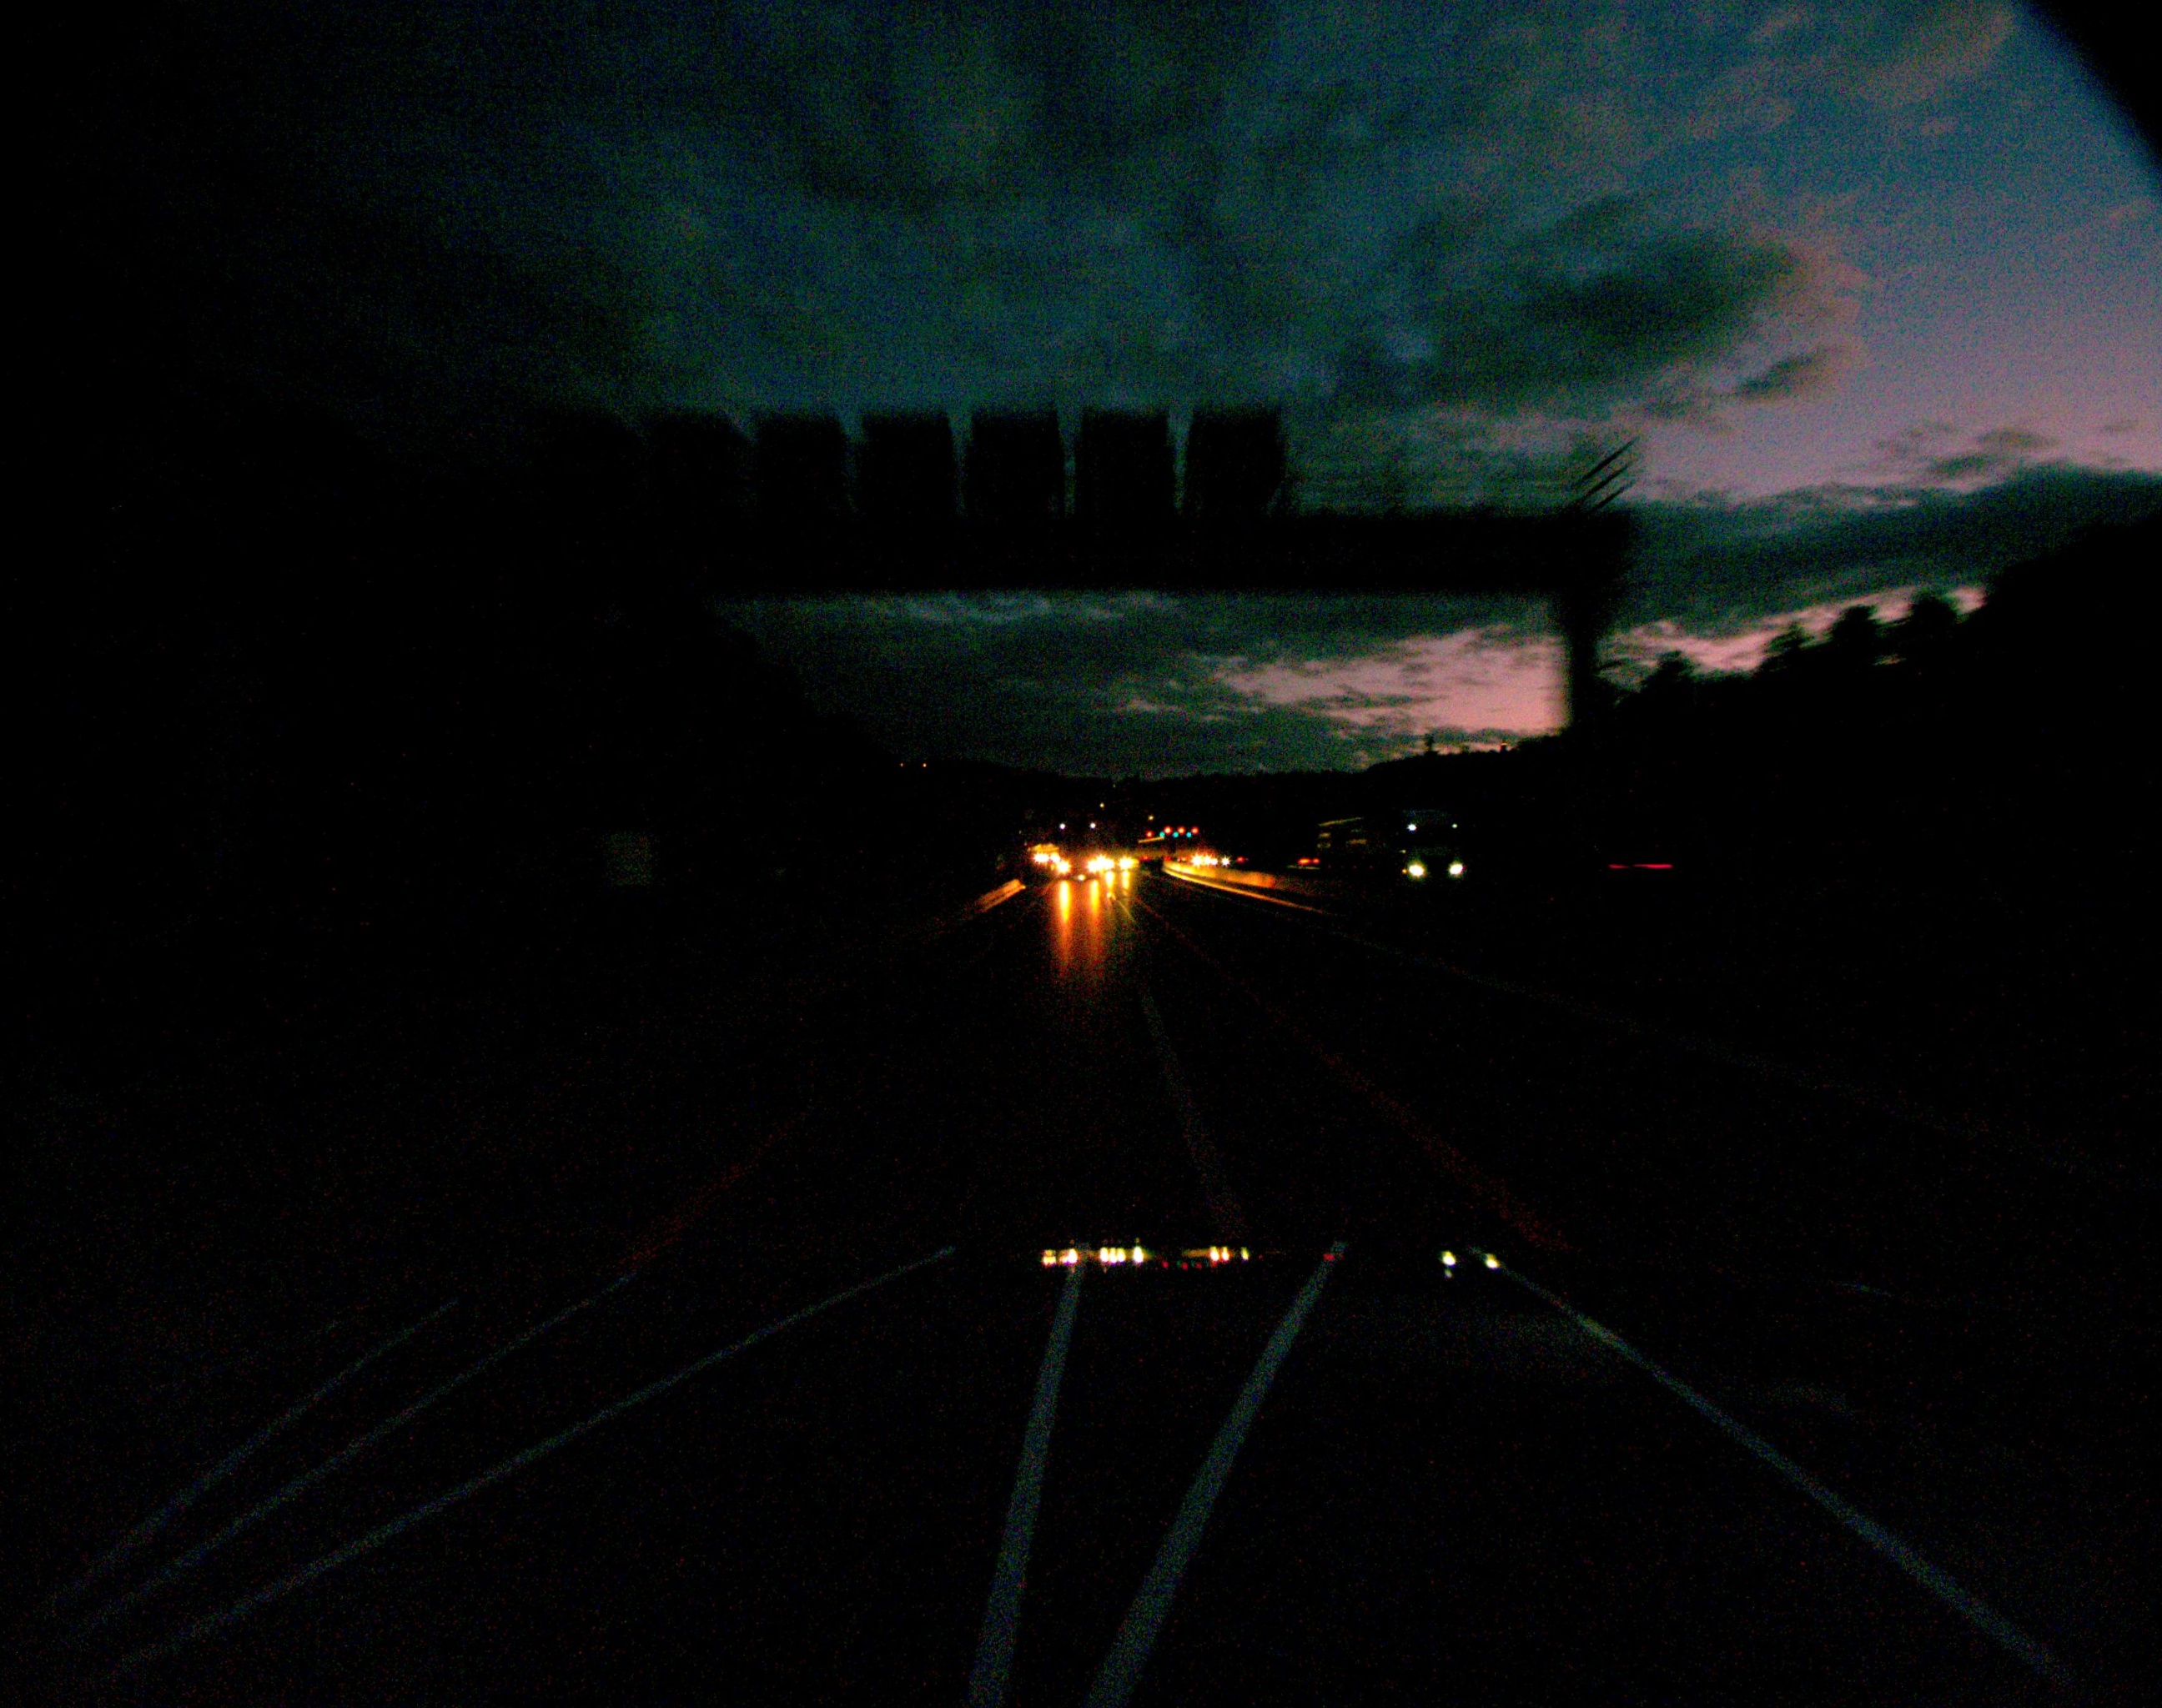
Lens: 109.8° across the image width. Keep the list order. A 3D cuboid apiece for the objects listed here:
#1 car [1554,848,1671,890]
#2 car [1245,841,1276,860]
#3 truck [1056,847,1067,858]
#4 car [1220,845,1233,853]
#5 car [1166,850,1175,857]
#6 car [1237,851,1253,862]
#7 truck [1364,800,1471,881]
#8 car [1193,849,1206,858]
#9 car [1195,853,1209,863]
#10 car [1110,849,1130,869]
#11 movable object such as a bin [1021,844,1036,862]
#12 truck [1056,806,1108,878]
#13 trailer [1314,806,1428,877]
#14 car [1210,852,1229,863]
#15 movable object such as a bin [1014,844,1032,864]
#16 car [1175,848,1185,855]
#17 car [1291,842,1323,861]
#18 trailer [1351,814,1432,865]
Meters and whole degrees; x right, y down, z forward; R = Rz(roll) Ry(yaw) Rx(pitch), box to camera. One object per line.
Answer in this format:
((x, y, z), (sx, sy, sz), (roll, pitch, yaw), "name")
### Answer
((23.546, 0.595, 33.904), (1.998, 1.664, 4.582), (-3, 1, 1), "car")
((18.863, -0.416, 80.140), (2.096, 1.873, 4.700), (-3, 1, 0), "car")
((-5.239, -0.309, 203.962), (1.998, 2.817, 6.297), (-3, 1, 5), "truck")
((32.323, -1.117, 168.844), (1.808, 1.628, 4.751), (-3, 1, 1), "car")
((23.324, -0.122, 197.388), (1.683, 1.628, 4.751), (-3, 1, 1), "car")
((26.114, 0.355, 121.246), (1.595, 1.595, 5.034), (-3, 1, 2), "car")
((17.472, -0.687, 39.963), (2.809, 3.753, 6.302), (-3, 1, 1), "truck")
((22.663, -0.142, 145.244), (1.741, 1.628, 4.891), (-3, 1, 1), "car")
((18.943, 0.652, 119.225), (1.509, 1.472, 3.824), (-3, 1, 0), "car")
((3.437, 0.442, 66.332), (1.662, 1.586, 3.997), (-3, 1, 4), "car")
((-9.878, -0.188, 143.420), (2.571, 3.299, 5.577), (0, 1, -2), "movable object such as a bin")
((-0.050, -0.778, 51.906), (2.954, 4.241, 11.050), (-3, 1, -1), "truck")
((17.677, -0.764, 47.479), (2.805, 3.761, 11.835), (-3, 1, 2), "trailer")
((19.089, 0.480, 104.845), (1.792, 1.472, 3.999), (-3, 1, 0), "car")
((-9.127, -0.039, 120.070), (2.628, 3.090, 5.804), (-1, 1, -2), "movable object such as a bin")
((23.803, -0.627, 182.274), (1.808, 1.628, 4.751), (-3, 1, 1), "car")
((22.415, -0.268, 75.482), (1.998, 1.666, 4.515), (-3, 1, 2), "car")
((28.376, -1.313, 70.240), (2.785, 4.181, 12.402), (-3, 1, 2), "trailer")
